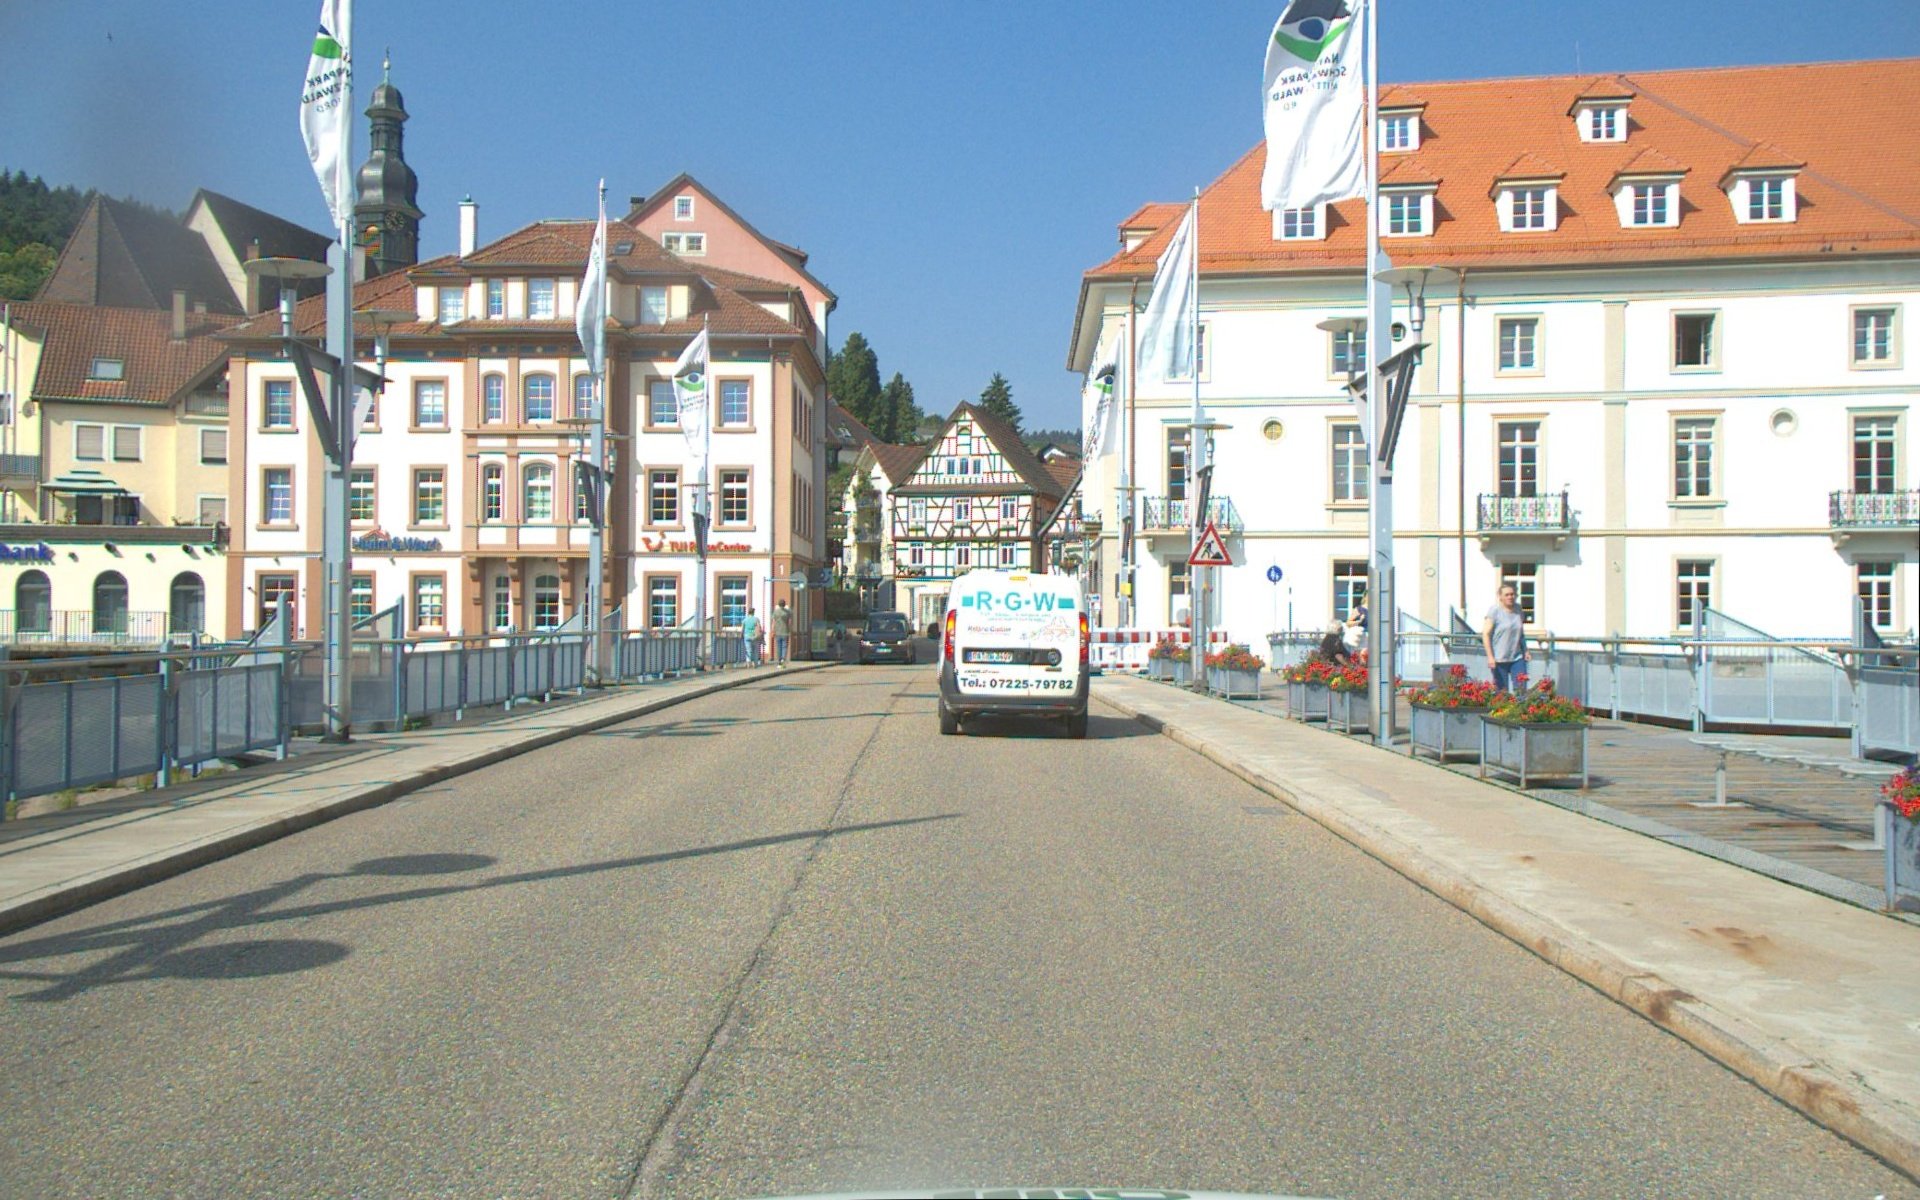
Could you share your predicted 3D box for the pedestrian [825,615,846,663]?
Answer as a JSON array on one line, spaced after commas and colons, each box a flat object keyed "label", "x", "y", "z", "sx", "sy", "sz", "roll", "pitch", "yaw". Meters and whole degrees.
[{"label": "pedestrian", "x": -4.878, "y": 1.525, "z": 64.750, "sx": 0.787, "sy": 1.890, "sz": 0.616, "roll": 0, "pitch": 0, "yaw": -2}]

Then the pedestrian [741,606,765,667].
[{"label": "pedestrian", "x": -5.632, "y": 0.984, "z": 45.083, "sx": 0.572, "sy": 1.638, "sz": 0.537, "roll": 1, "pitch": 0, "yaw": -2}]

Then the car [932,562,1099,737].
[{"label": "car", "x": 0.590, "y": 0.583, "z": 20.634, "sx": 1.807, "sy": 1.939, "sz": 4.313, "roll": 1, "pitch": -1, "yaw": -2}]

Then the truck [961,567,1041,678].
[{"label": "truck", "x": 0.982, "y": 0.553, "z": 41.674, "sx": 1.823, "sy": 2.631, "sz": 4.259, "roll": 1, "pitch": -1, "yaw": -1}]

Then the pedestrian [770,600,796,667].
[{"label": "pedestrian", "x": -4.794, "y": 0.900, "z": 44.927, "sx": 0.602, "sy": 1.793, "sz": 0.863, "roll": 1, "pitch": 0, "yaw": -2}]

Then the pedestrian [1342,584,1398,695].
[{"label": "pedestrian", "x": 6.597, "y": 0.621, "z": 26.617, "sx": 0.711, "sy": 1.753, "sz": 0.747, "roll": 0, "pitch": 0, "yaw": 1}]

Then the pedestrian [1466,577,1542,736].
[{"label": "pedestrian", "x": 5.762, "y": 0.589, "z": 17.538, "sx": 0.652, "sy": 1.647, "sz": 0.563, "roll": 0, "pitch": 0, "yaw": 5}]

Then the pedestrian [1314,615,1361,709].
[{"label": "pedestrian", "x": 5.218, "y": 0.852, "z": 22.860, "sx": 0.443, "sy": 1.266, "sz": 0.625, "roll": 0, "pitch": -1, "yaw": -6}]

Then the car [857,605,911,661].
[{"label": "car", "x": -2.606, "y": 1.103, "z": 57.517, "sx": 1.741, "sy": 1.824, "sz": 4.695, "roll": 1, "pitch": 0, "yaw": -2}]
